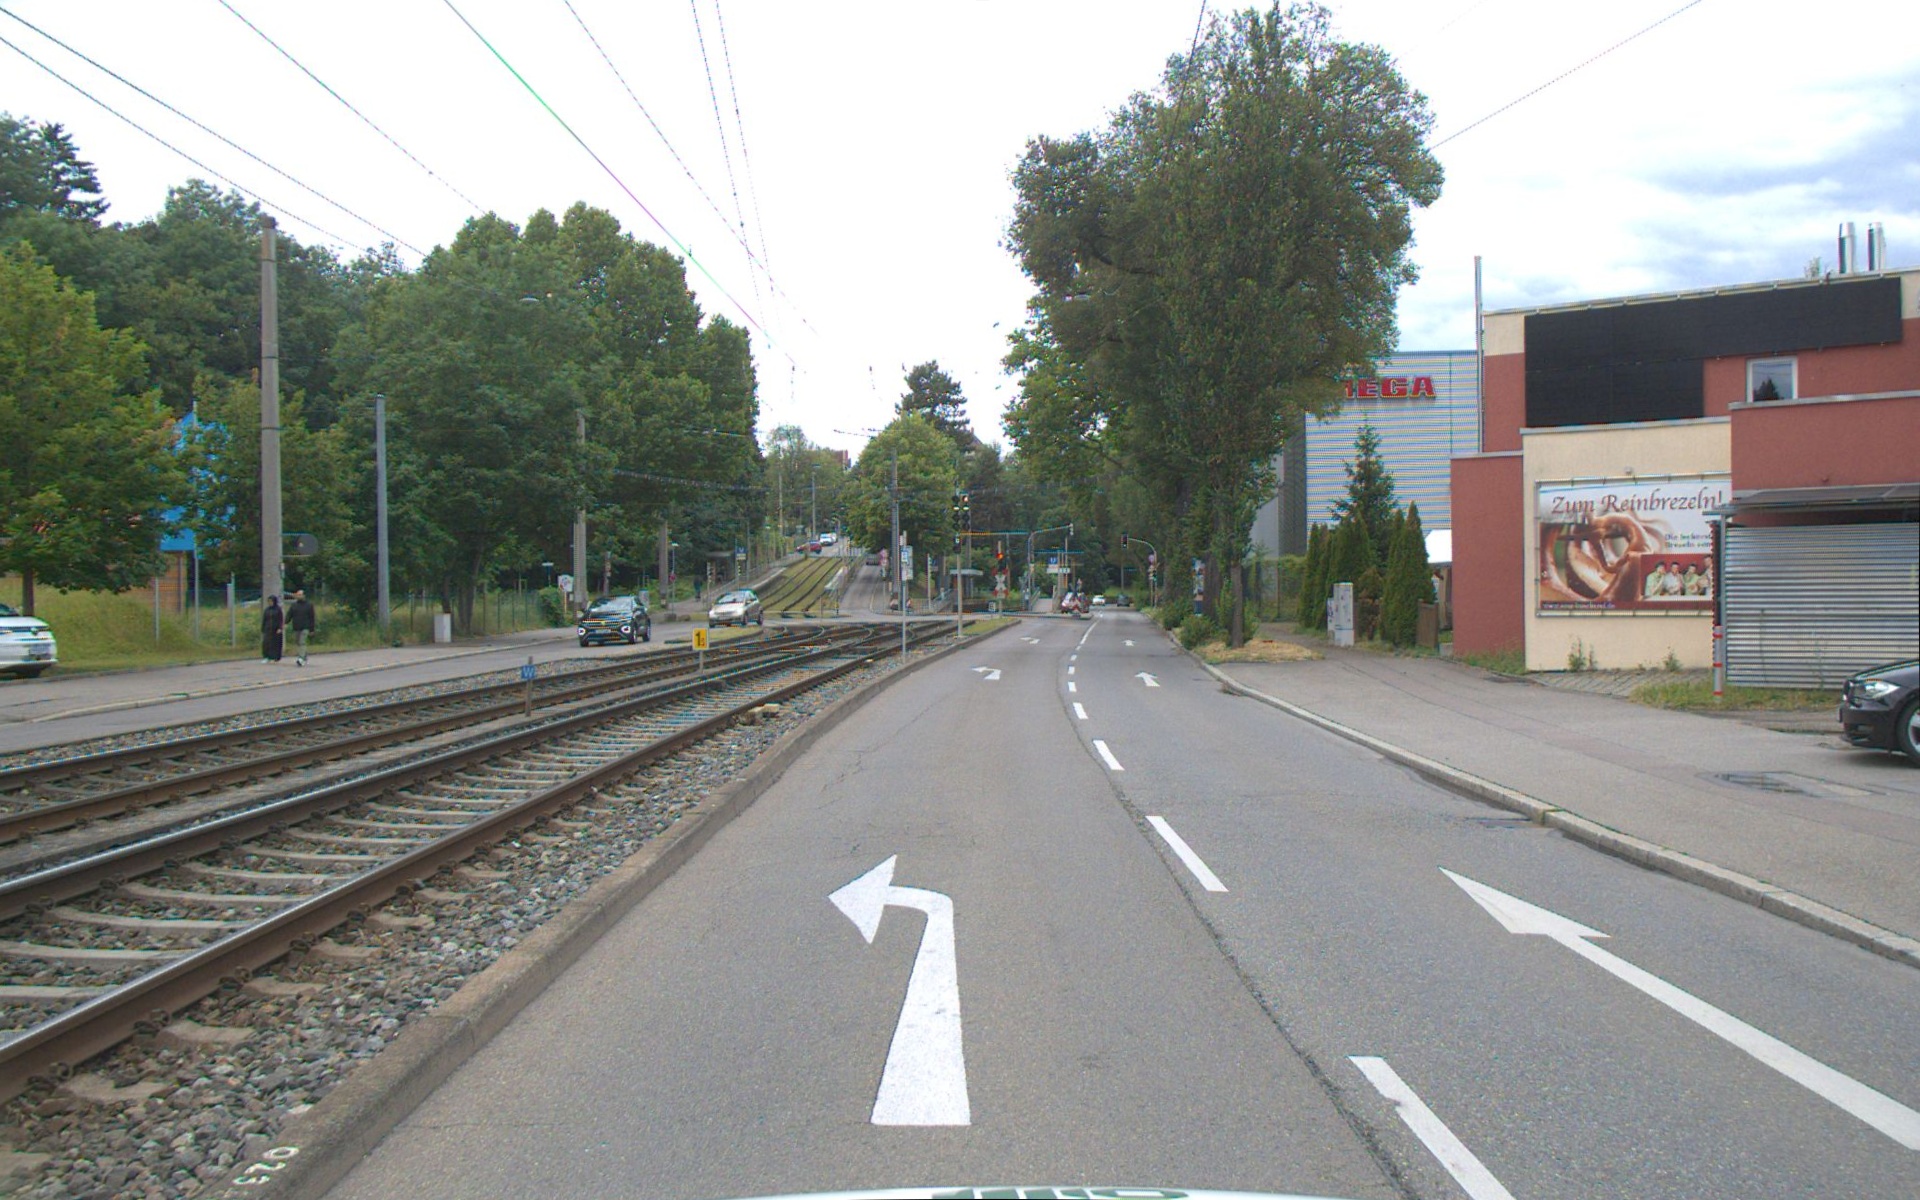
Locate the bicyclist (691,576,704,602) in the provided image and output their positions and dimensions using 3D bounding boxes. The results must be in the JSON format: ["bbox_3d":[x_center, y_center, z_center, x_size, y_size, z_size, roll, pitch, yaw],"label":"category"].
[{"bbox_3d":[-19.299,-0.839,121.616,0.804,1.881,1.051,-1,0,-3],"label":"bicyclist"}]

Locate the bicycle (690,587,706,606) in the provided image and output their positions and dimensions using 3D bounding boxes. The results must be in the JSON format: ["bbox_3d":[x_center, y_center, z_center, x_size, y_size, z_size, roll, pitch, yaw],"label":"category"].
[{"bbox_3d":[-19.274,-0.287,121.592,0.807,1.367,2.995,-1,0,-3],"label":"bicycle"}]

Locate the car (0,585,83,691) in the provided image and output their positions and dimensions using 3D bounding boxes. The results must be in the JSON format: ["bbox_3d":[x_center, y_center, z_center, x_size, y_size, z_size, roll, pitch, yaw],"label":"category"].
[{"bbox_3d":[-19.836,0.657,31.774,4.948,1.921,2.168,1,0,9],"label":"car"}]

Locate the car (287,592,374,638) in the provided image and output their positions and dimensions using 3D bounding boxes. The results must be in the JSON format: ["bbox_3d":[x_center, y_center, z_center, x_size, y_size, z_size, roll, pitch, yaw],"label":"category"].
[{"bbox_3d":[-25.496,0.594,67.113,1.953,1.780,4.000,-1,0,0],"label":"car"}]

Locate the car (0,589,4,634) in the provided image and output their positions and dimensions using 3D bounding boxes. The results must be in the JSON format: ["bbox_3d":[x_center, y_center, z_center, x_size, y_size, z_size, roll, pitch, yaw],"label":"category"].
[{"bbox_3d":[-45.743,0.527,74.388,1.956,2.049,4.395,0,0,30],"label":"car"}]

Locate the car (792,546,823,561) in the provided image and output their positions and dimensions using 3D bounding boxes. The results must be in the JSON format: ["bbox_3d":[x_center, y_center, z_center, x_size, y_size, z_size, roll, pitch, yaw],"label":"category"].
[{"bbox_3d":[-21.292,-6.486,231.674,3.902,2.049,2.002,-1,0,10],"label":"car"}]

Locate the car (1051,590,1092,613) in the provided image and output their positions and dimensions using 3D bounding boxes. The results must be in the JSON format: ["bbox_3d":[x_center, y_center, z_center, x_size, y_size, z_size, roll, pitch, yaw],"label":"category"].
[{"bbox_3d":[7.826,0.092,115.759,1.951,1.542,4.503,0,0,17],"label":"car"}]

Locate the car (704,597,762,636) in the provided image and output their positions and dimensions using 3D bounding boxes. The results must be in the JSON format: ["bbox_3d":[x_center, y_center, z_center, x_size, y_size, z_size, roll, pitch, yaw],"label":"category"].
[{"bbox_3d":[-10.405,0.730,76.060,1.852,1.558,4.257,-4,0,1],"label":"car"}]

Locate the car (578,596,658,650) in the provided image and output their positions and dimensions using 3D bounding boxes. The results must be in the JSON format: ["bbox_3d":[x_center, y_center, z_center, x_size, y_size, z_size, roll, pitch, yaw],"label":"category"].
[{"bbox_3d":[-11.014,0.703,53.513,1.653,1.558,4.255,-4,0,-1],"label":"car"}]

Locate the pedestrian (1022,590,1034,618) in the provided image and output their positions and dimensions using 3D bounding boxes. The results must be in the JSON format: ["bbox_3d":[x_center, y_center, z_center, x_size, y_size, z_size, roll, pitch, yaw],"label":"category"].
[{"bbox_3d":[4.712,0.284,114.562,0.752,1.885,0.910,-1,-1,2],"label":"pedestrian"}]

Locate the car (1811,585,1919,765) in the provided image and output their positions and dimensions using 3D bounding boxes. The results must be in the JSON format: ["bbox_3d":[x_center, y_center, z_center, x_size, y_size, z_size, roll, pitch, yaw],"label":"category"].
[{"bbox_3d":[9.425,0.599,13.770,4.138,1.468,1.761,0,0,27],"label":"car"}]

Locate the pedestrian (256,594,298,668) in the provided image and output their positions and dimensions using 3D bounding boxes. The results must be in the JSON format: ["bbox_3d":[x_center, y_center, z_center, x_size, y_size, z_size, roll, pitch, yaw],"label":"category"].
[{"bbox_3d":[-16.447,0.741,39.851,0.615,1.743,0.856,1,0,2],"label":"pedestrian"}]

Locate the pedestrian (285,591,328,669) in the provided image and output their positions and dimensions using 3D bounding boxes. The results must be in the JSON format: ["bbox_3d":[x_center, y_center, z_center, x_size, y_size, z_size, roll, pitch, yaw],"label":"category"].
[{"bbox_3d":[-15.695,0.720,39.751,0.662,1.845,0.856,1,0,2],"label":"pedestrian"}]

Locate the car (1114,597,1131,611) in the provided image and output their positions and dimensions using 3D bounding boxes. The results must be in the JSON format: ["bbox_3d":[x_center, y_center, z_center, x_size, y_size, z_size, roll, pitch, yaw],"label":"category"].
[{"bbox_3d":[21.615,0.501,219.818,1.952,1.847,4.001,-1,0,2],"label":"car"}]
